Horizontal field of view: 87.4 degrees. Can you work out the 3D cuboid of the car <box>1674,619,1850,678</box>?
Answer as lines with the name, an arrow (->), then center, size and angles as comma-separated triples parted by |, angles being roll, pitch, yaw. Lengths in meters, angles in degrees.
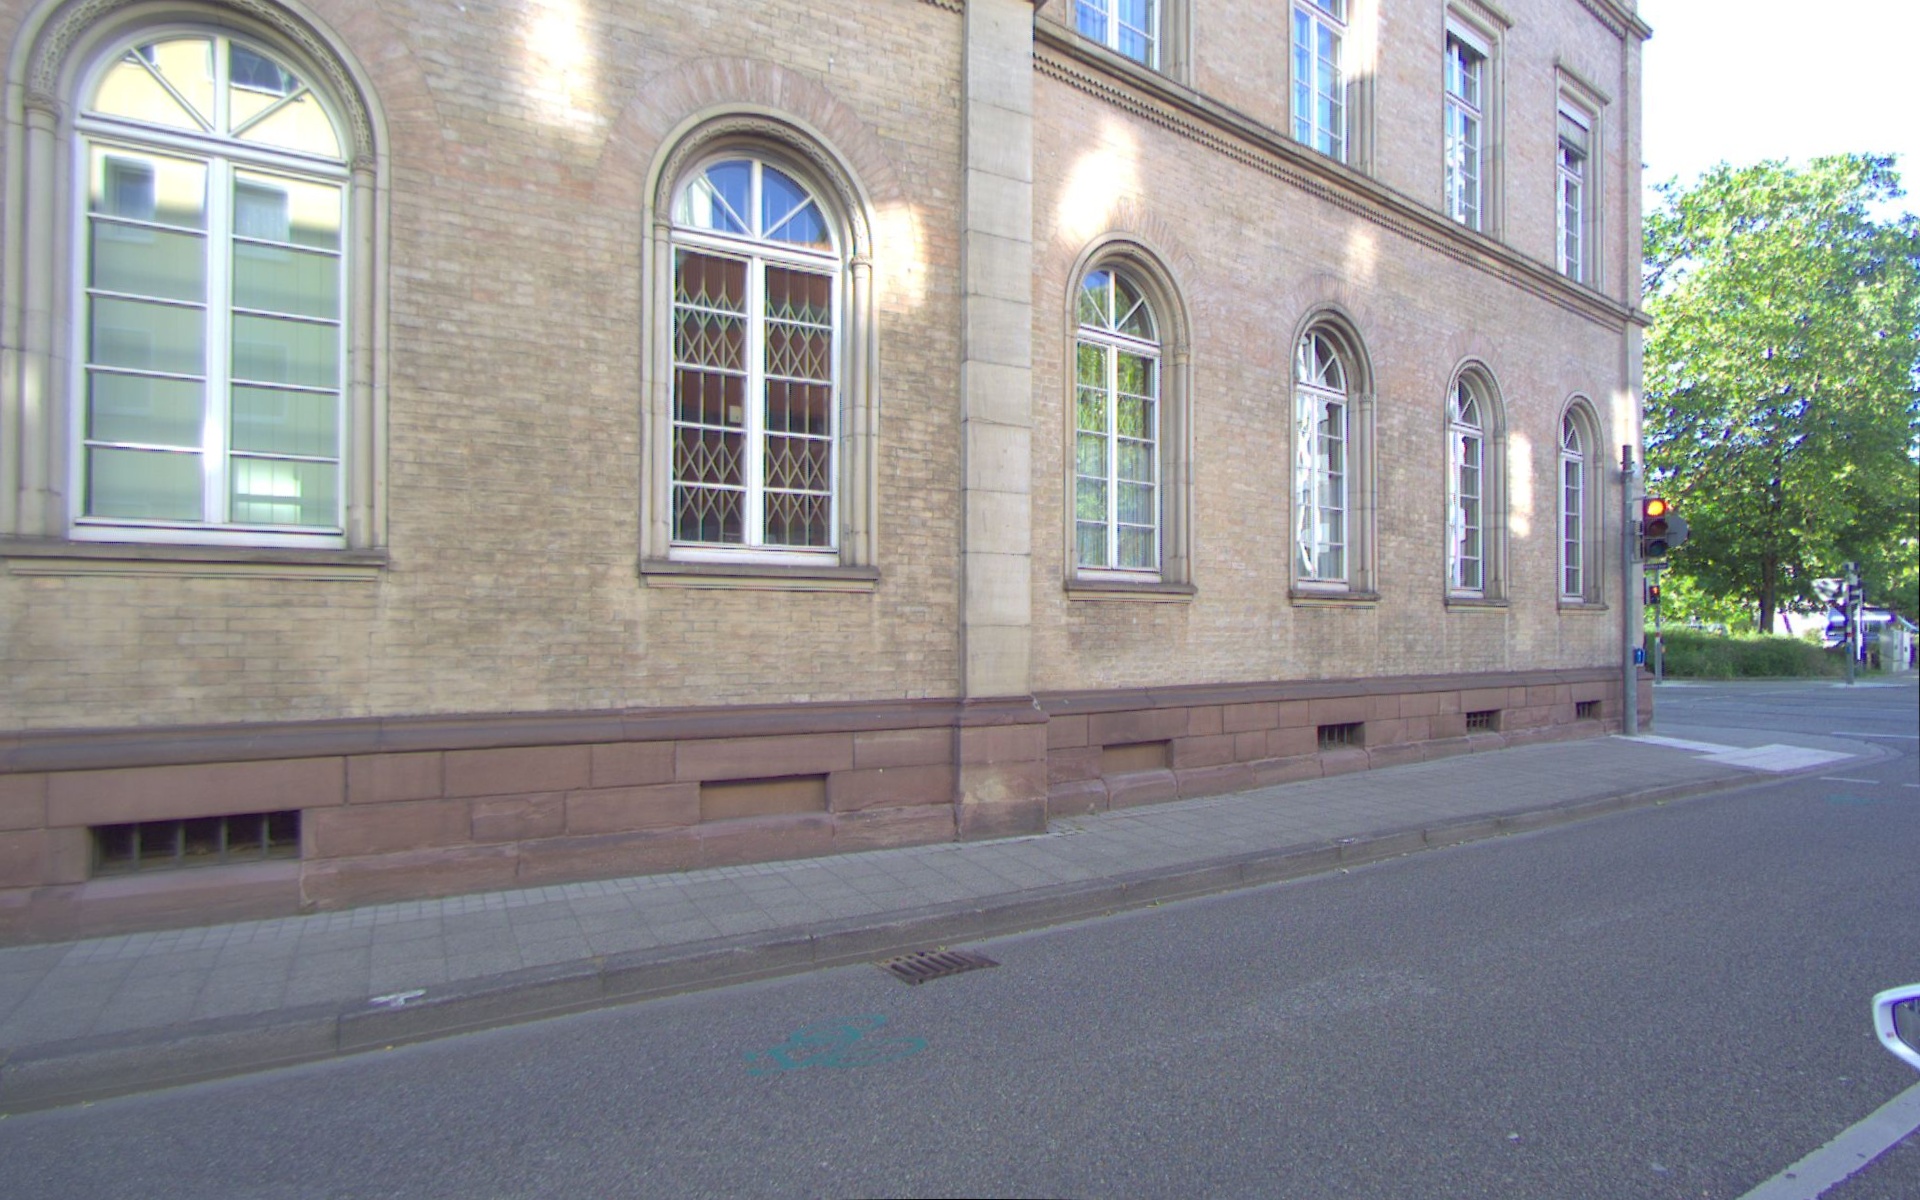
car -> 26.335, 1.548, 33.102 | 1.888, 1.801, 4.193 | 1, -2, -37
